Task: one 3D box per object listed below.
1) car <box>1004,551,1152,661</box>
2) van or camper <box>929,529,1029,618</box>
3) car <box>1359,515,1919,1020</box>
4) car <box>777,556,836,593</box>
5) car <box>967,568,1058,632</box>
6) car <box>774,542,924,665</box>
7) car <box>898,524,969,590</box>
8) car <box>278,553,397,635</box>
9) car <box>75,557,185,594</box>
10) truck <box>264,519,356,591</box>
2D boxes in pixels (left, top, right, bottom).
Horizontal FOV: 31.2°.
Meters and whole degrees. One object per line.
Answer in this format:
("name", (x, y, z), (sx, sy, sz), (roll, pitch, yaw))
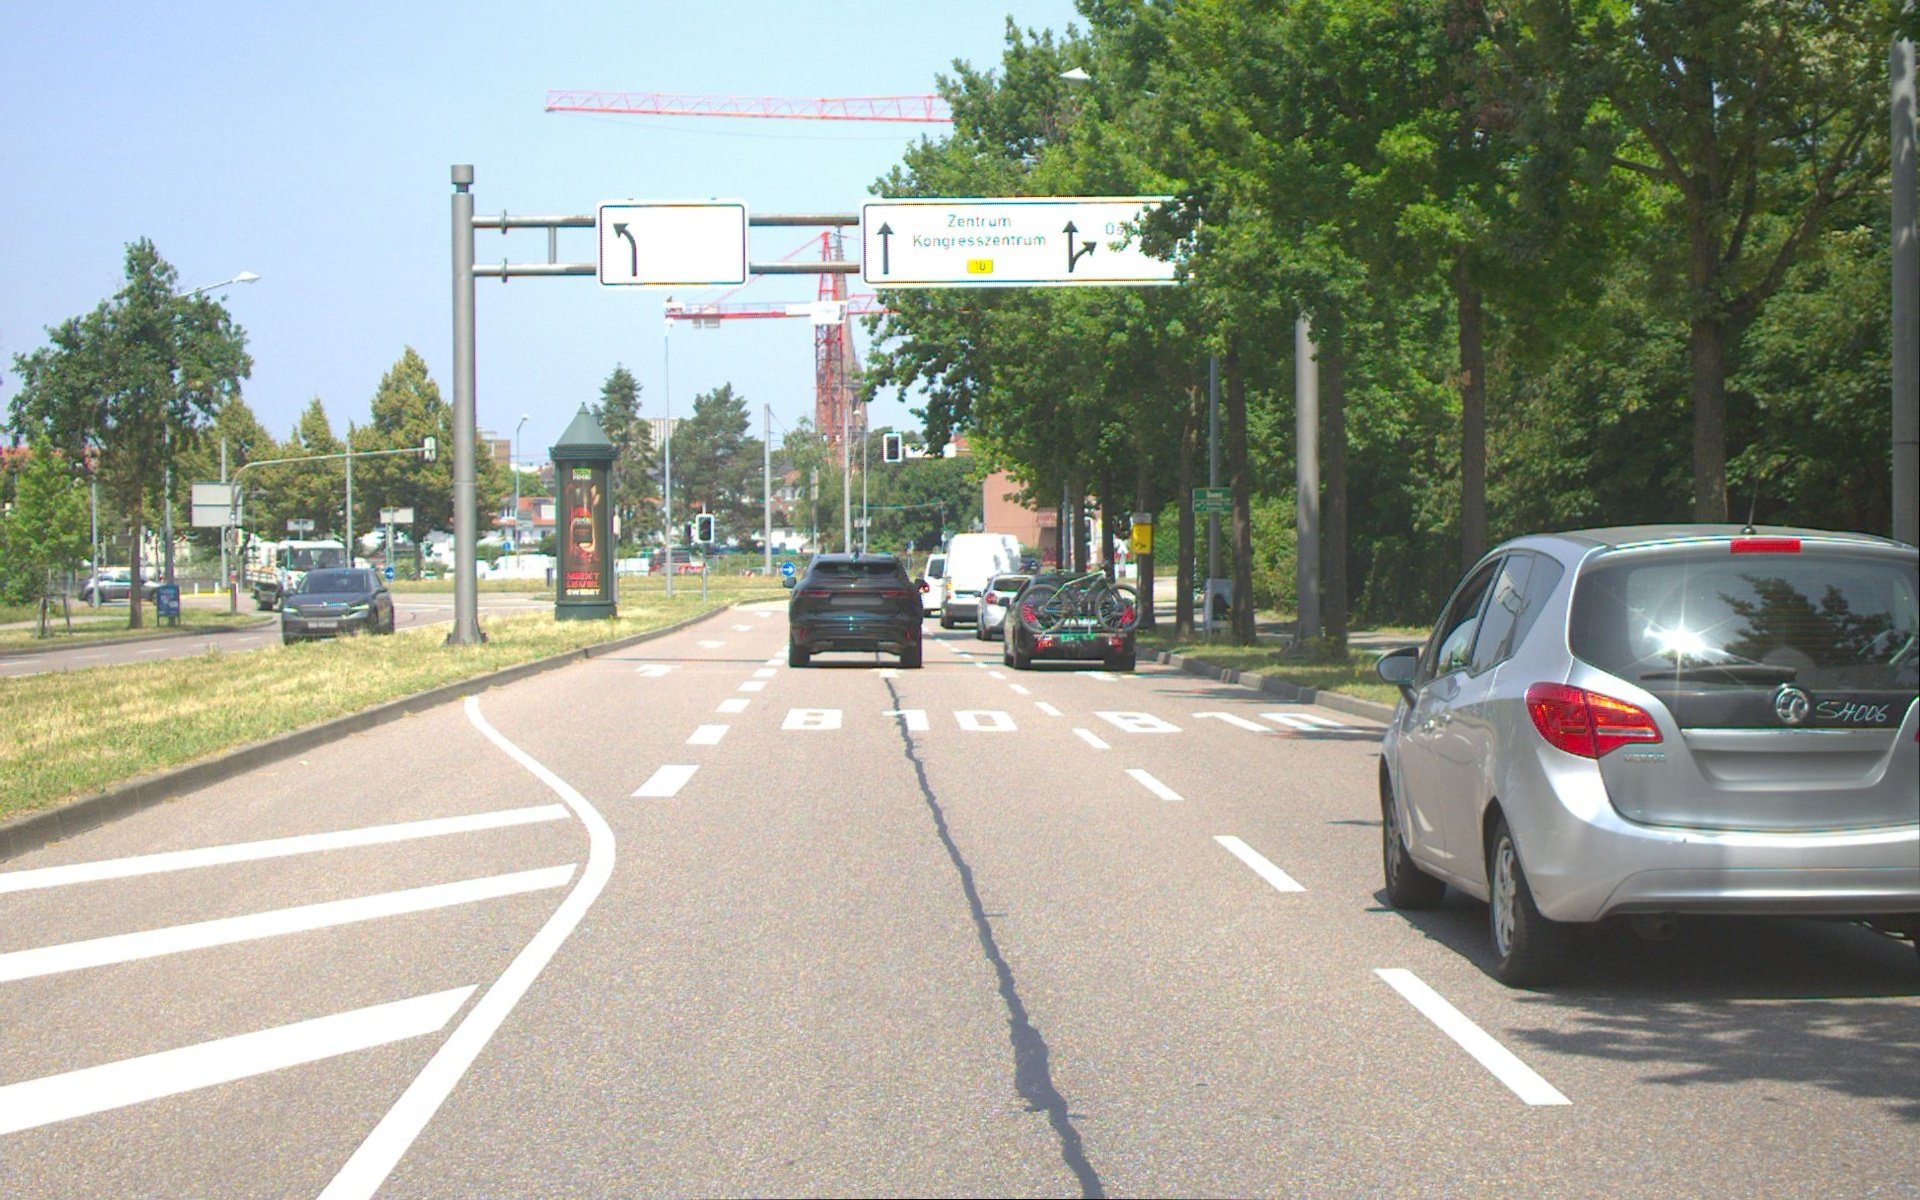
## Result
("car", (1.679, 0.051, 50.321), (2.014, 1.512, 4.461), (-1, 1, 0))
("van or camper", (0.477, -0.715, 91.329), (2.493, 2.283, 4.921), (-1, 1, -1))
("car", (2.650, 0.497, 12.941), (1.792, 1.606, 3.891), (1, 1, 0))
("car", (-5.778, -0.960, 129.212), (1.993, 1.316, 4.001), (0, 2, -6))
("car", (1.148, -0.026, 76.651), (1.654, 1.351, 4.461), (-1, 1, -4))
("car", (-1.585, 0.017, 50.404), (1.998, 1.683, 4.034), (1, 1, 1))
("car", (-0.841, -1.353, 107.128), (1.993, 2.007, 4.001), (-1, 1, -3))
("car", (-12.799, -0.161, 70.910), (1.892, 1.605, 4.535), (0, 1, -4))
("car", (-33.715, -0.986, 139.782), (3.987, 1.448, 2.000), (0, 1, 0))
("truck", (-23.886, -1.681, 126.487), (2.638, 2.568, 6.319), (-1, 1, -5))
